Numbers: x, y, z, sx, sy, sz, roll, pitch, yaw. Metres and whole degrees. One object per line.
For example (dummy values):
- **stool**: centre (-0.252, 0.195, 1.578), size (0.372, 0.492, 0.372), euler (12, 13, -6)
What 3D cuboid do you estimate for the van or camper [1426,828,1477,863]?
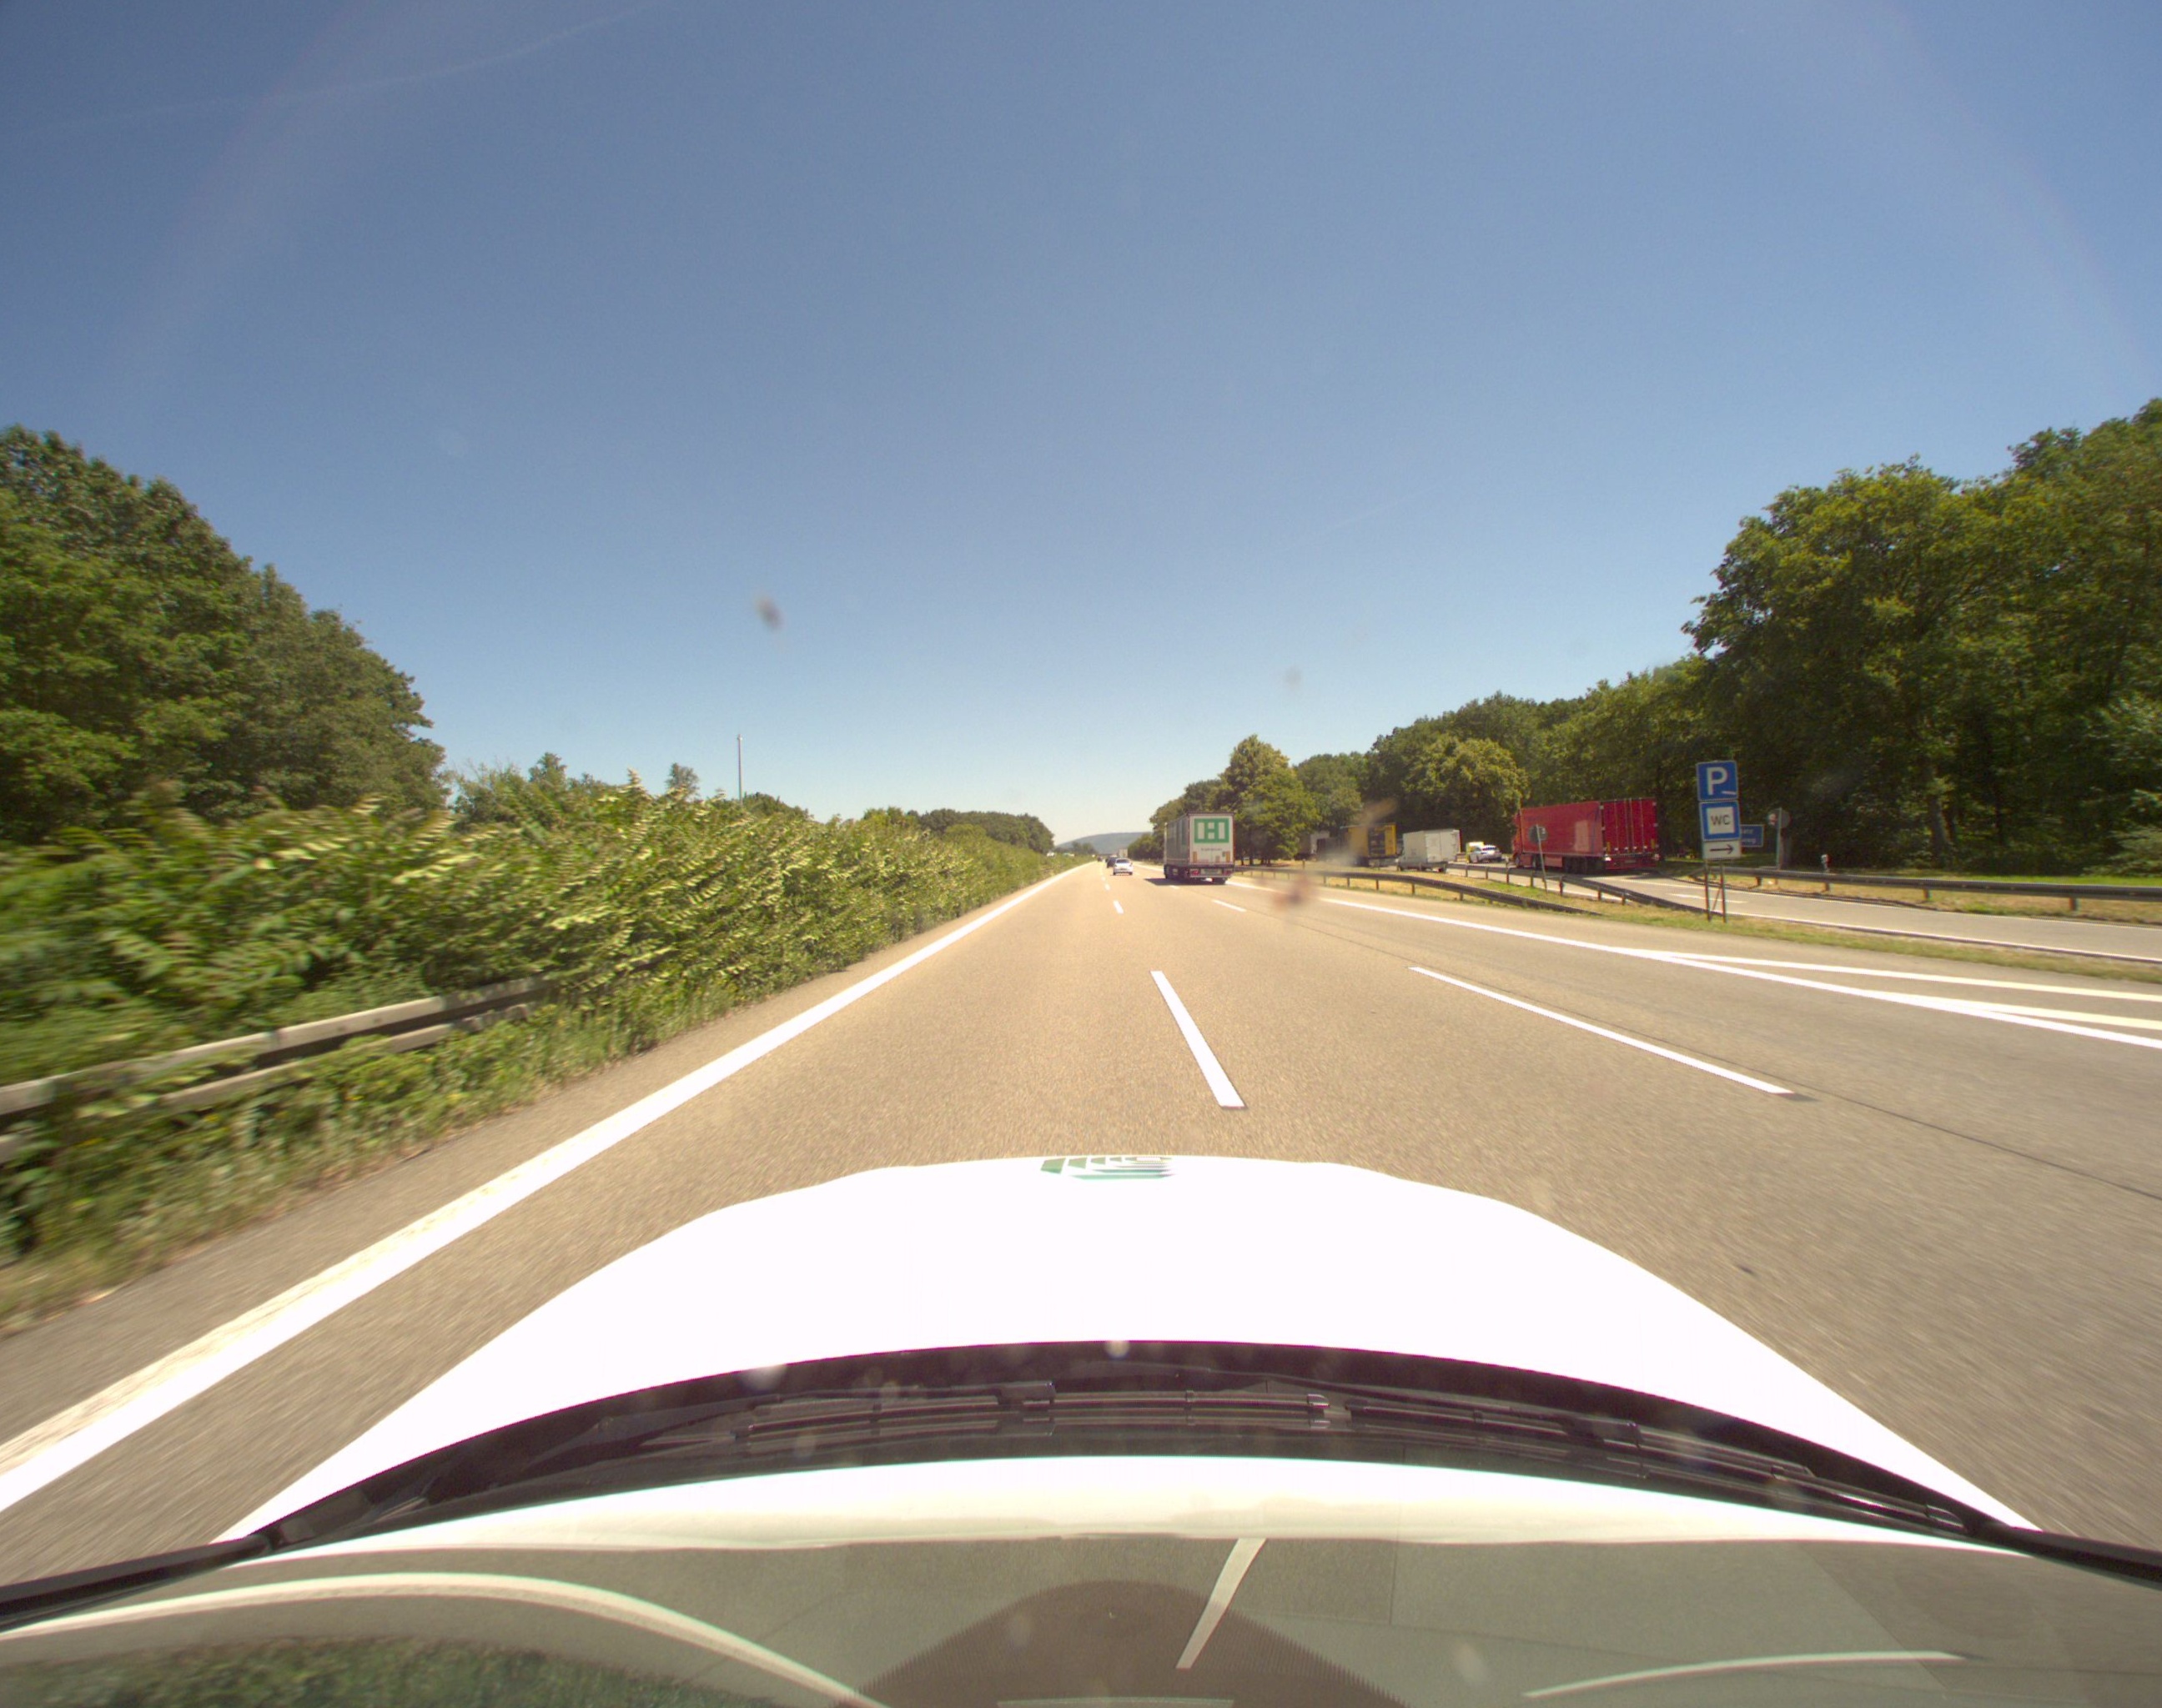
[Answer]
- **van or camper**: centre (37.718, -0.837, 83.229), size (2.980, 3.235, 7.019), euler (-2, 0, 9)

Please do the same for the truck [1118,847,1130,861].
- **truck**: centre (12.140, 0.051, 231.866), size (3.312, 3.756, 12.801), euler (-1, 0, 2)

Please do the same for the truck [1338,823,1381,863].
- **truck**: centre (28.896, -1.066, 84.646), size (3.164, 3.935, 6.635), euler (-1, 0, 10)

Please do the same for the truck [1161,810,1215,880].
- **truck**: centre (7.544, -0.597, 58.115), size (3.170, 4.607, 5.950), euler (-1, 0, 2)

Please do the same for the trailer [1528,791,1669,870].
- **trailer**: centre (29.506, -1.181, 47.338), size (2.957, 3.878, 12.938), euler (-2, 0, 14)

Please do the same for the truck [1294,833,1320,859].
- **truck**: centre (33.576, -1.168, 121.245), size (3.071, 3.790, 5.328), euler (-1, 0, 8)

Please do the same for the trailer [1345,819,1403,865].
- **trailer**: centre (27.642, -1.069, 77.400), size (3.164, 3.935, 11.583), euler (-1, 0, 10)

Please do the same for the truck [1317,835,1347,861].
- **truck**: centre (31.170, -0.692, 101.516), size (2.455, 3.086, 6.630), euler (-1, 0, 7)

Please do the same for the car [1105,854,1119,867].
- **car**: centre (4.703, 0.979, 122.205), size (1.888, 1.892, 4.005), euler (-3, 0, 4)

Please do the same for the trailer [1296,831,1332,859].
- **trailer**: centre (32.609, -1.179, 114.448), size (3.085, 3.790, 13.393), euler (-1, 0, 8)

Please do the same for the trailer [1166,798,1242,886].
- **trailer**: centre (7.234, -0.629, 49.851), size (3.169, 4.627, 12.056), euler (-2, 0, 2)

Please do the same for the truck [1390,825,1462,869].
- **truck**: centre (25.111, -0.484, 59.676), size (2.457, 2.946, 7.666), euler (-1, 0, 4)

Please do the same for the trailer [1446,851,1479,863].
- **trailer**: centre (35.238, 0.257, 75.320), size (1.764, 0.958, 4.012), euler (-2, 0, 11)

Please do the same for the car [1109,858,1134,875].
- **car**: centre (3.606, 1.134, 73.578), size (1.809, 1.405, 3.311), euler (-2, 0, -5)

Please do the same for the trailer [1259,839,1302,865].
- **trailer**: centre (32.879, -0.233, 135.174), size (3.127, 3.952, 14.186), euler (-2, 0, -2)

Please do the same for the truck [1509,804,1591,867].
- **truck**: centre (31.424, -1.208, 54.873), size (2.958, 3.881, 6.441), euler (-2, 0, 14)

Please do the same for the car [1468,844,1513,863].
- **car**: centre (34.280, -0.053, 68.345), size (1.981, 1.451, 5.049), euler (-2, 0, 11)
